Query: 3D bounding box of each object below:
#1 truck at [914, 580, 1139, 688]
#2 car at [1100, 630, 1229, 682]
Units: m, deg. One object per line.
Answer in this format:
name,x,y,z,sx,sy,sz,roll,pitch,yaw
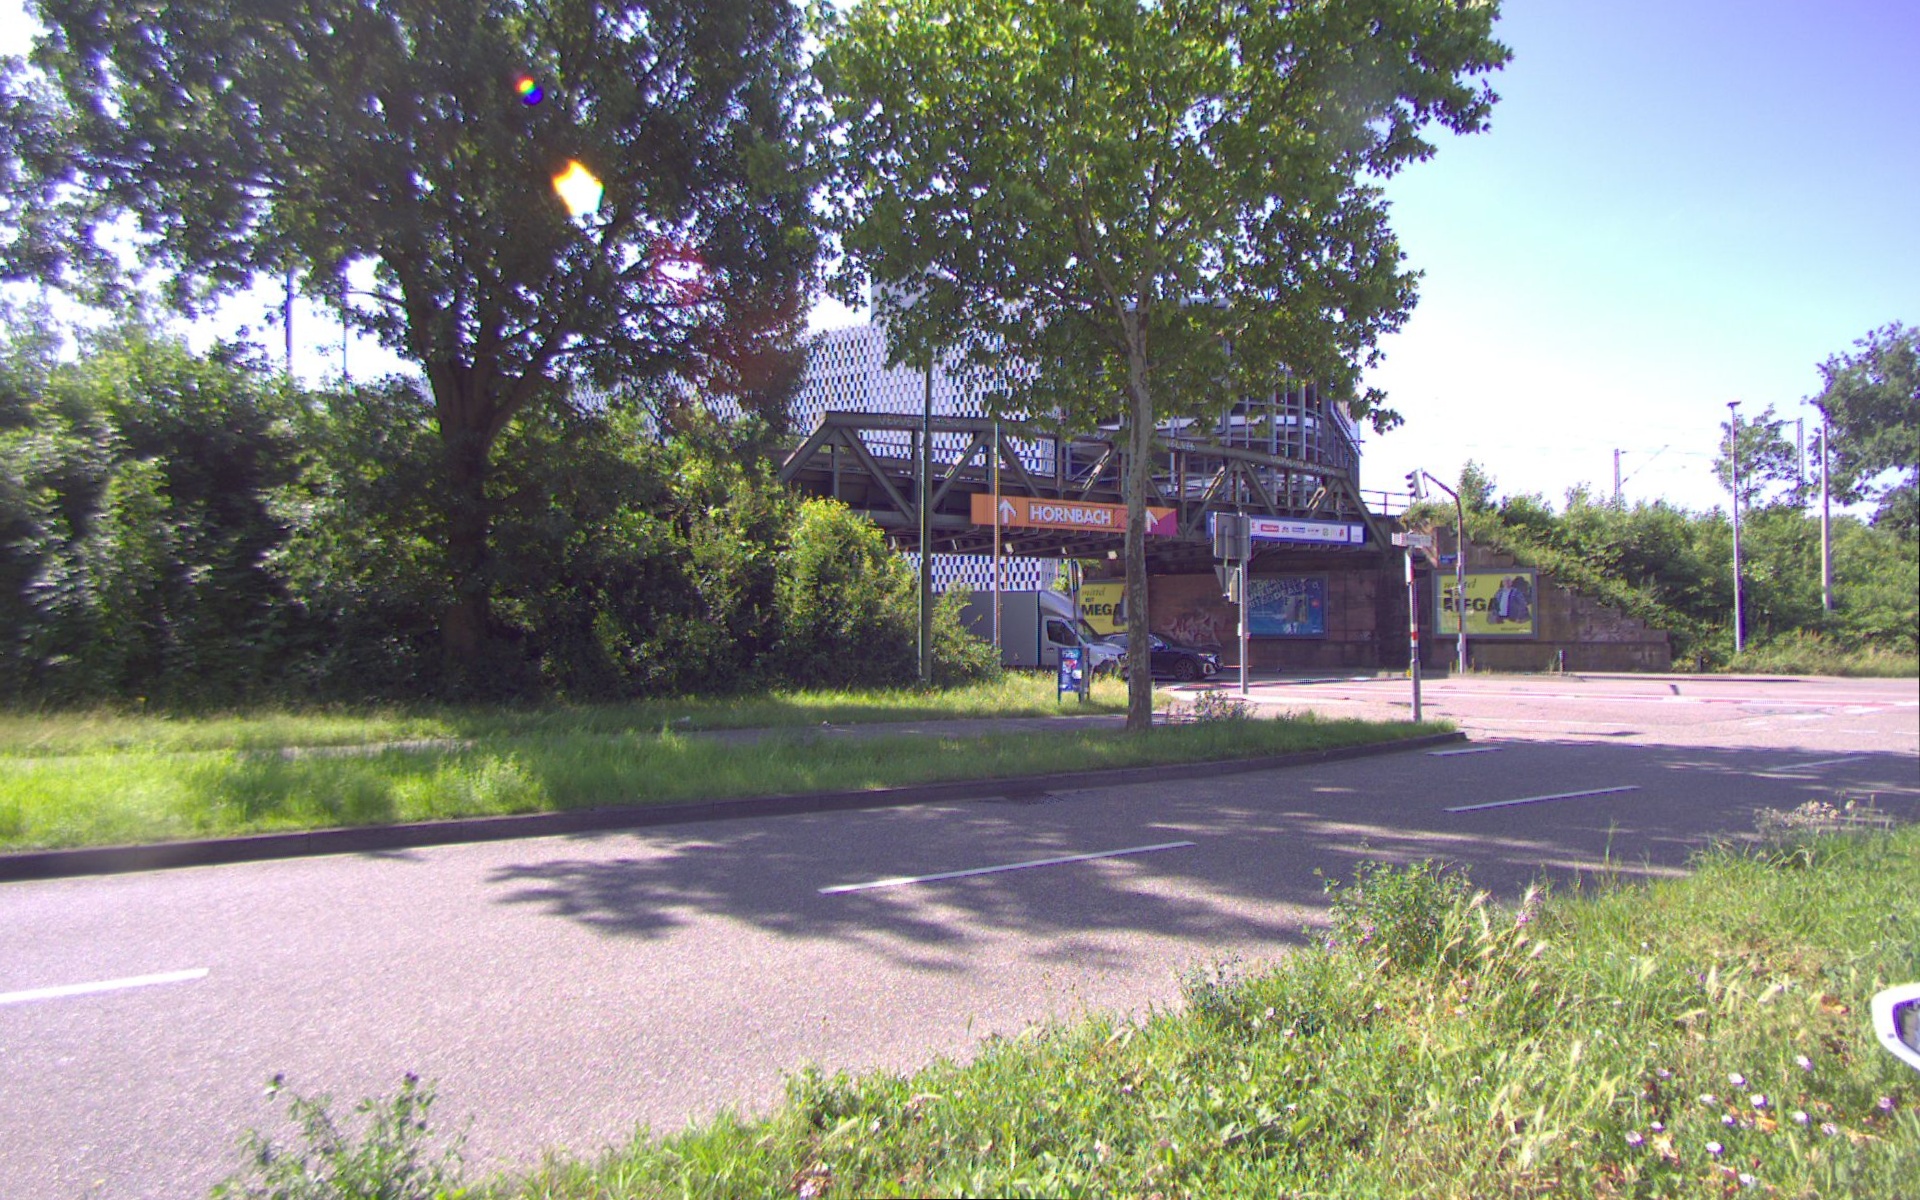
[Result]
truck,2.035,1.124,31.731,6.739,3.146,2.216,-2,-2,27
car,6.964,1.897,34.227,3.926,1.668,1.902,-2,-2,27
